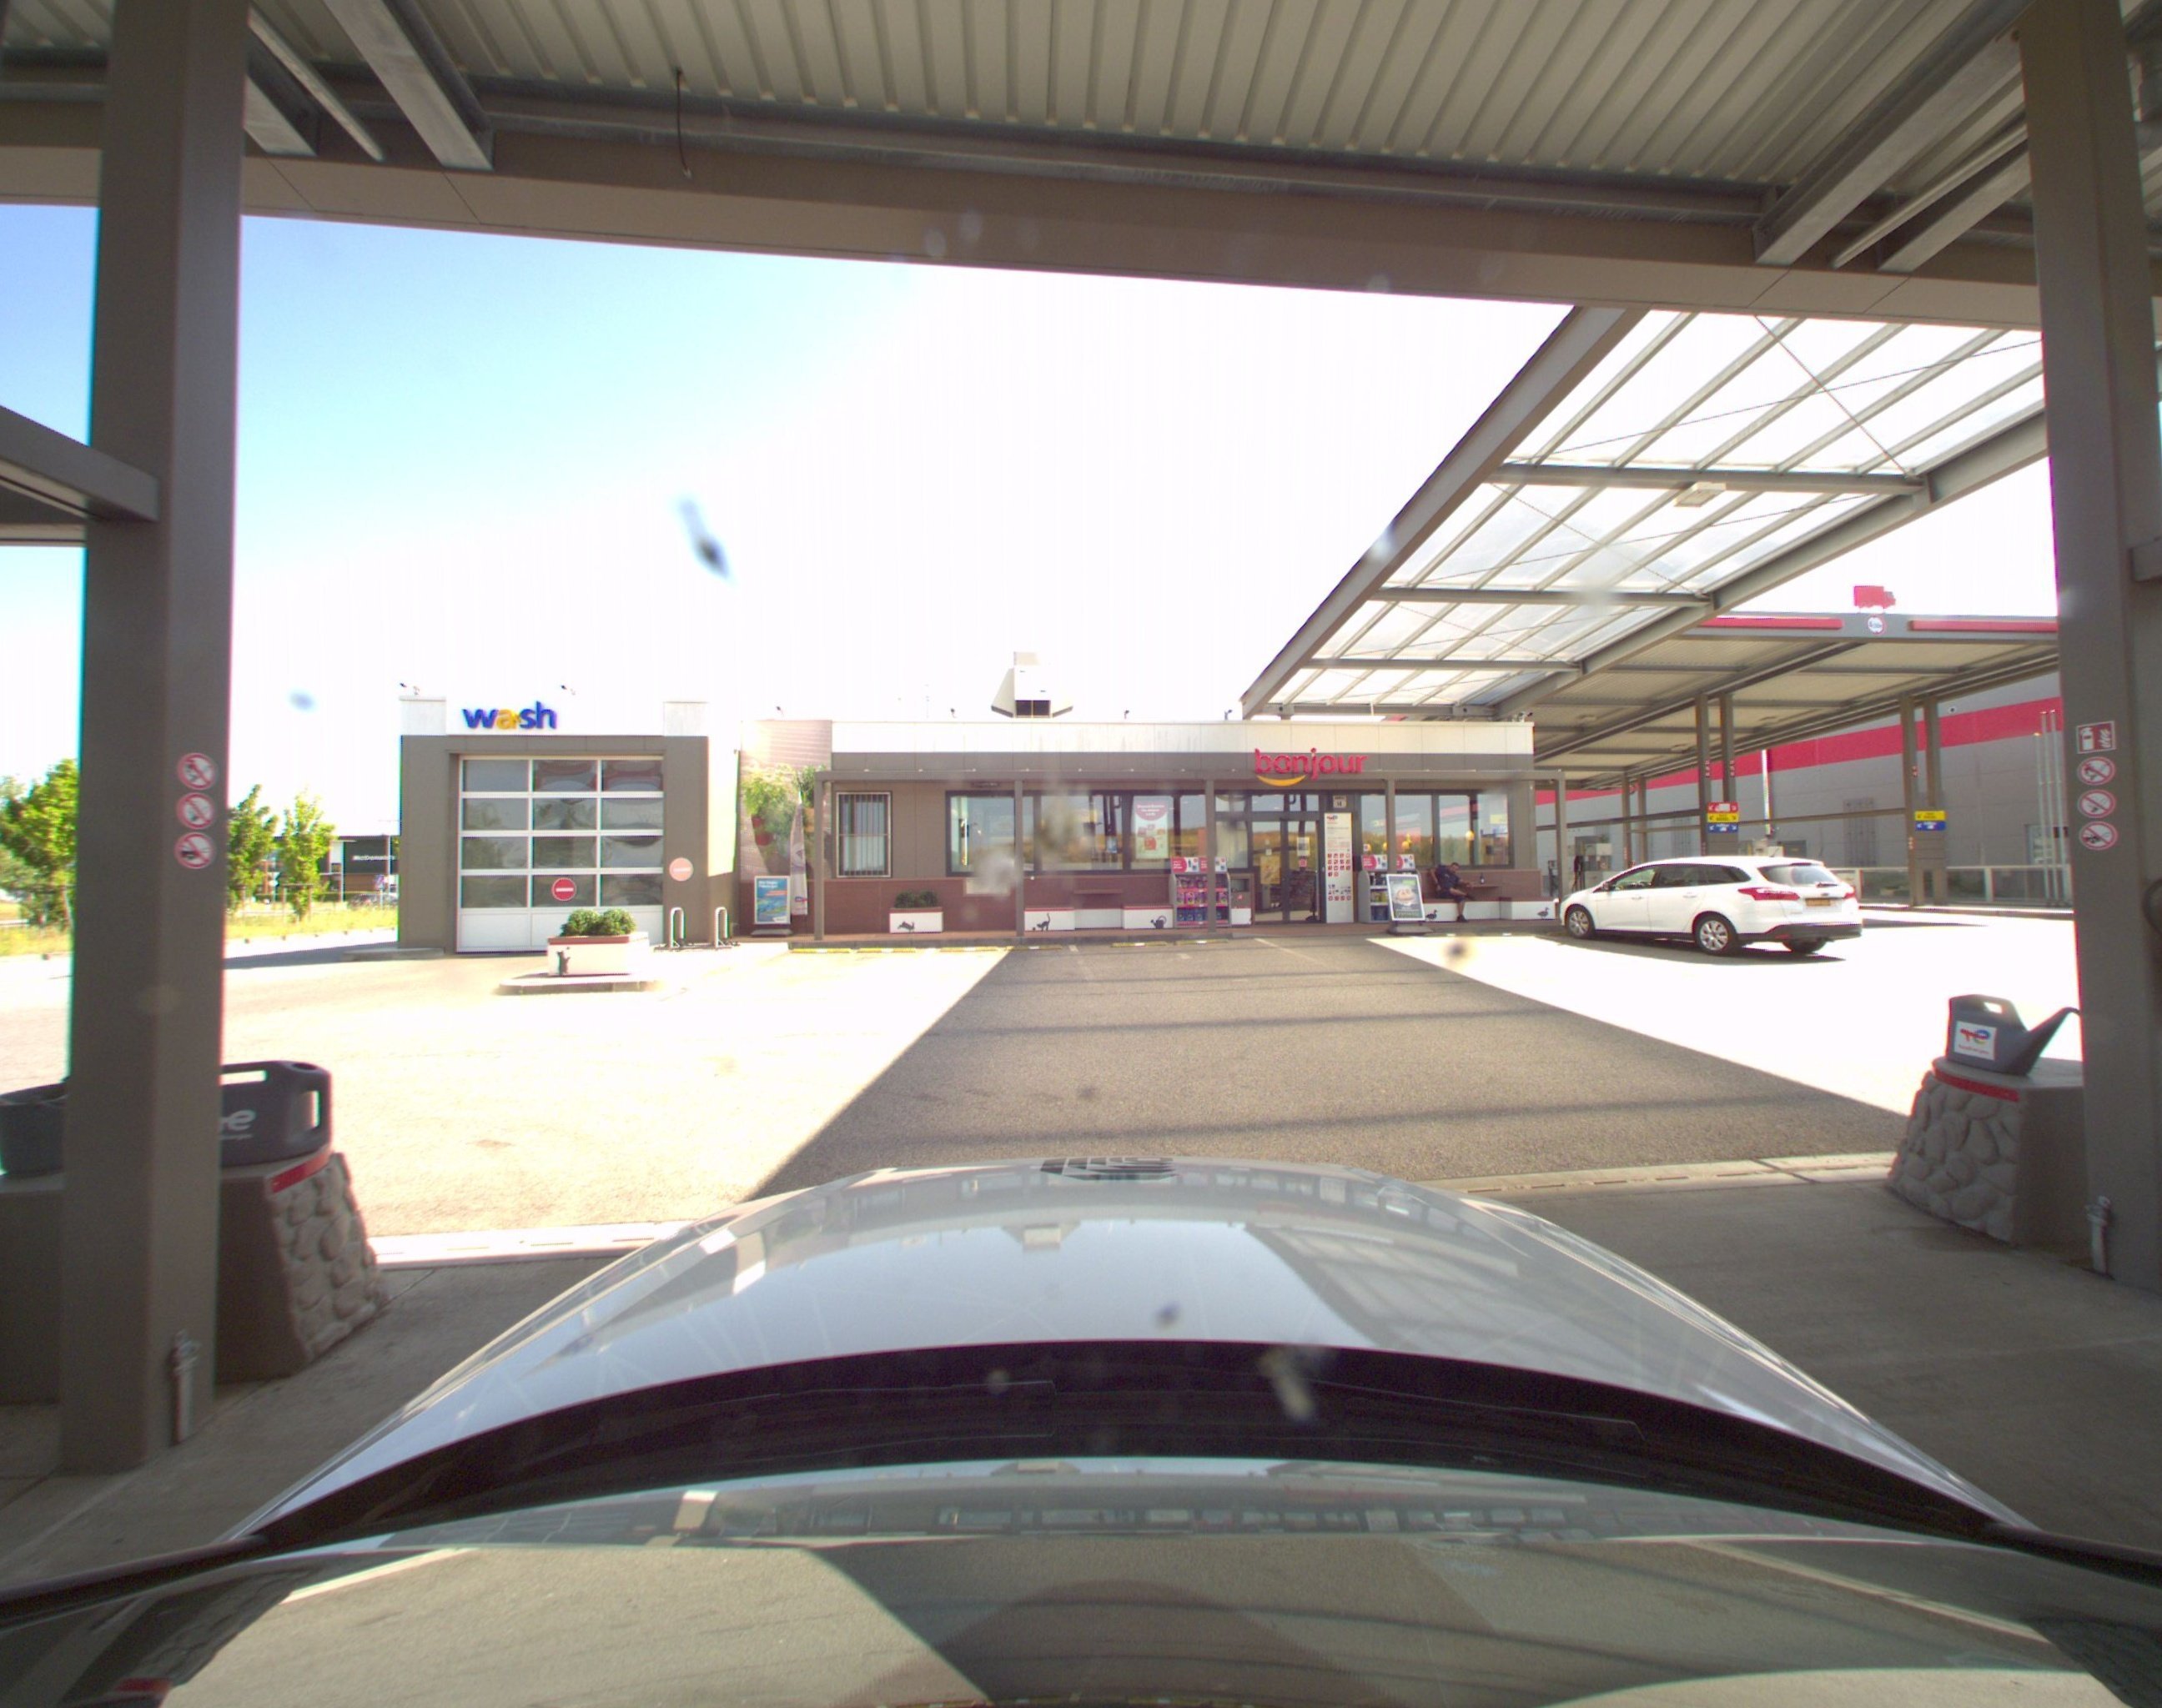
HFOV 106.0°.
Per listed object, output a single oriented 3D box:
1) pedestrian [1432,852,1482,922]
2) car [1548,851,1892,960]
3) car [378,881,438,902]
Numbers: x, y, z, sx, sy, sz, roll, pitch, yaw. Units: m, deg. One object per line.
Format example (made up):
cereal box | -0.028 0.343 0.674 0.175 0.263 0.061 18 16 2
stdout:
pedestrian | 7.995 0.689 17.333 0.700 1.432 0.671 -1 -1 -6
car | 10.112 0.736 13.405 1.831 1.457 4.304 -1 -1 -11
car | -54.918 3.048 66.533 1.794 1.596 3.992 -1 -1 -5
